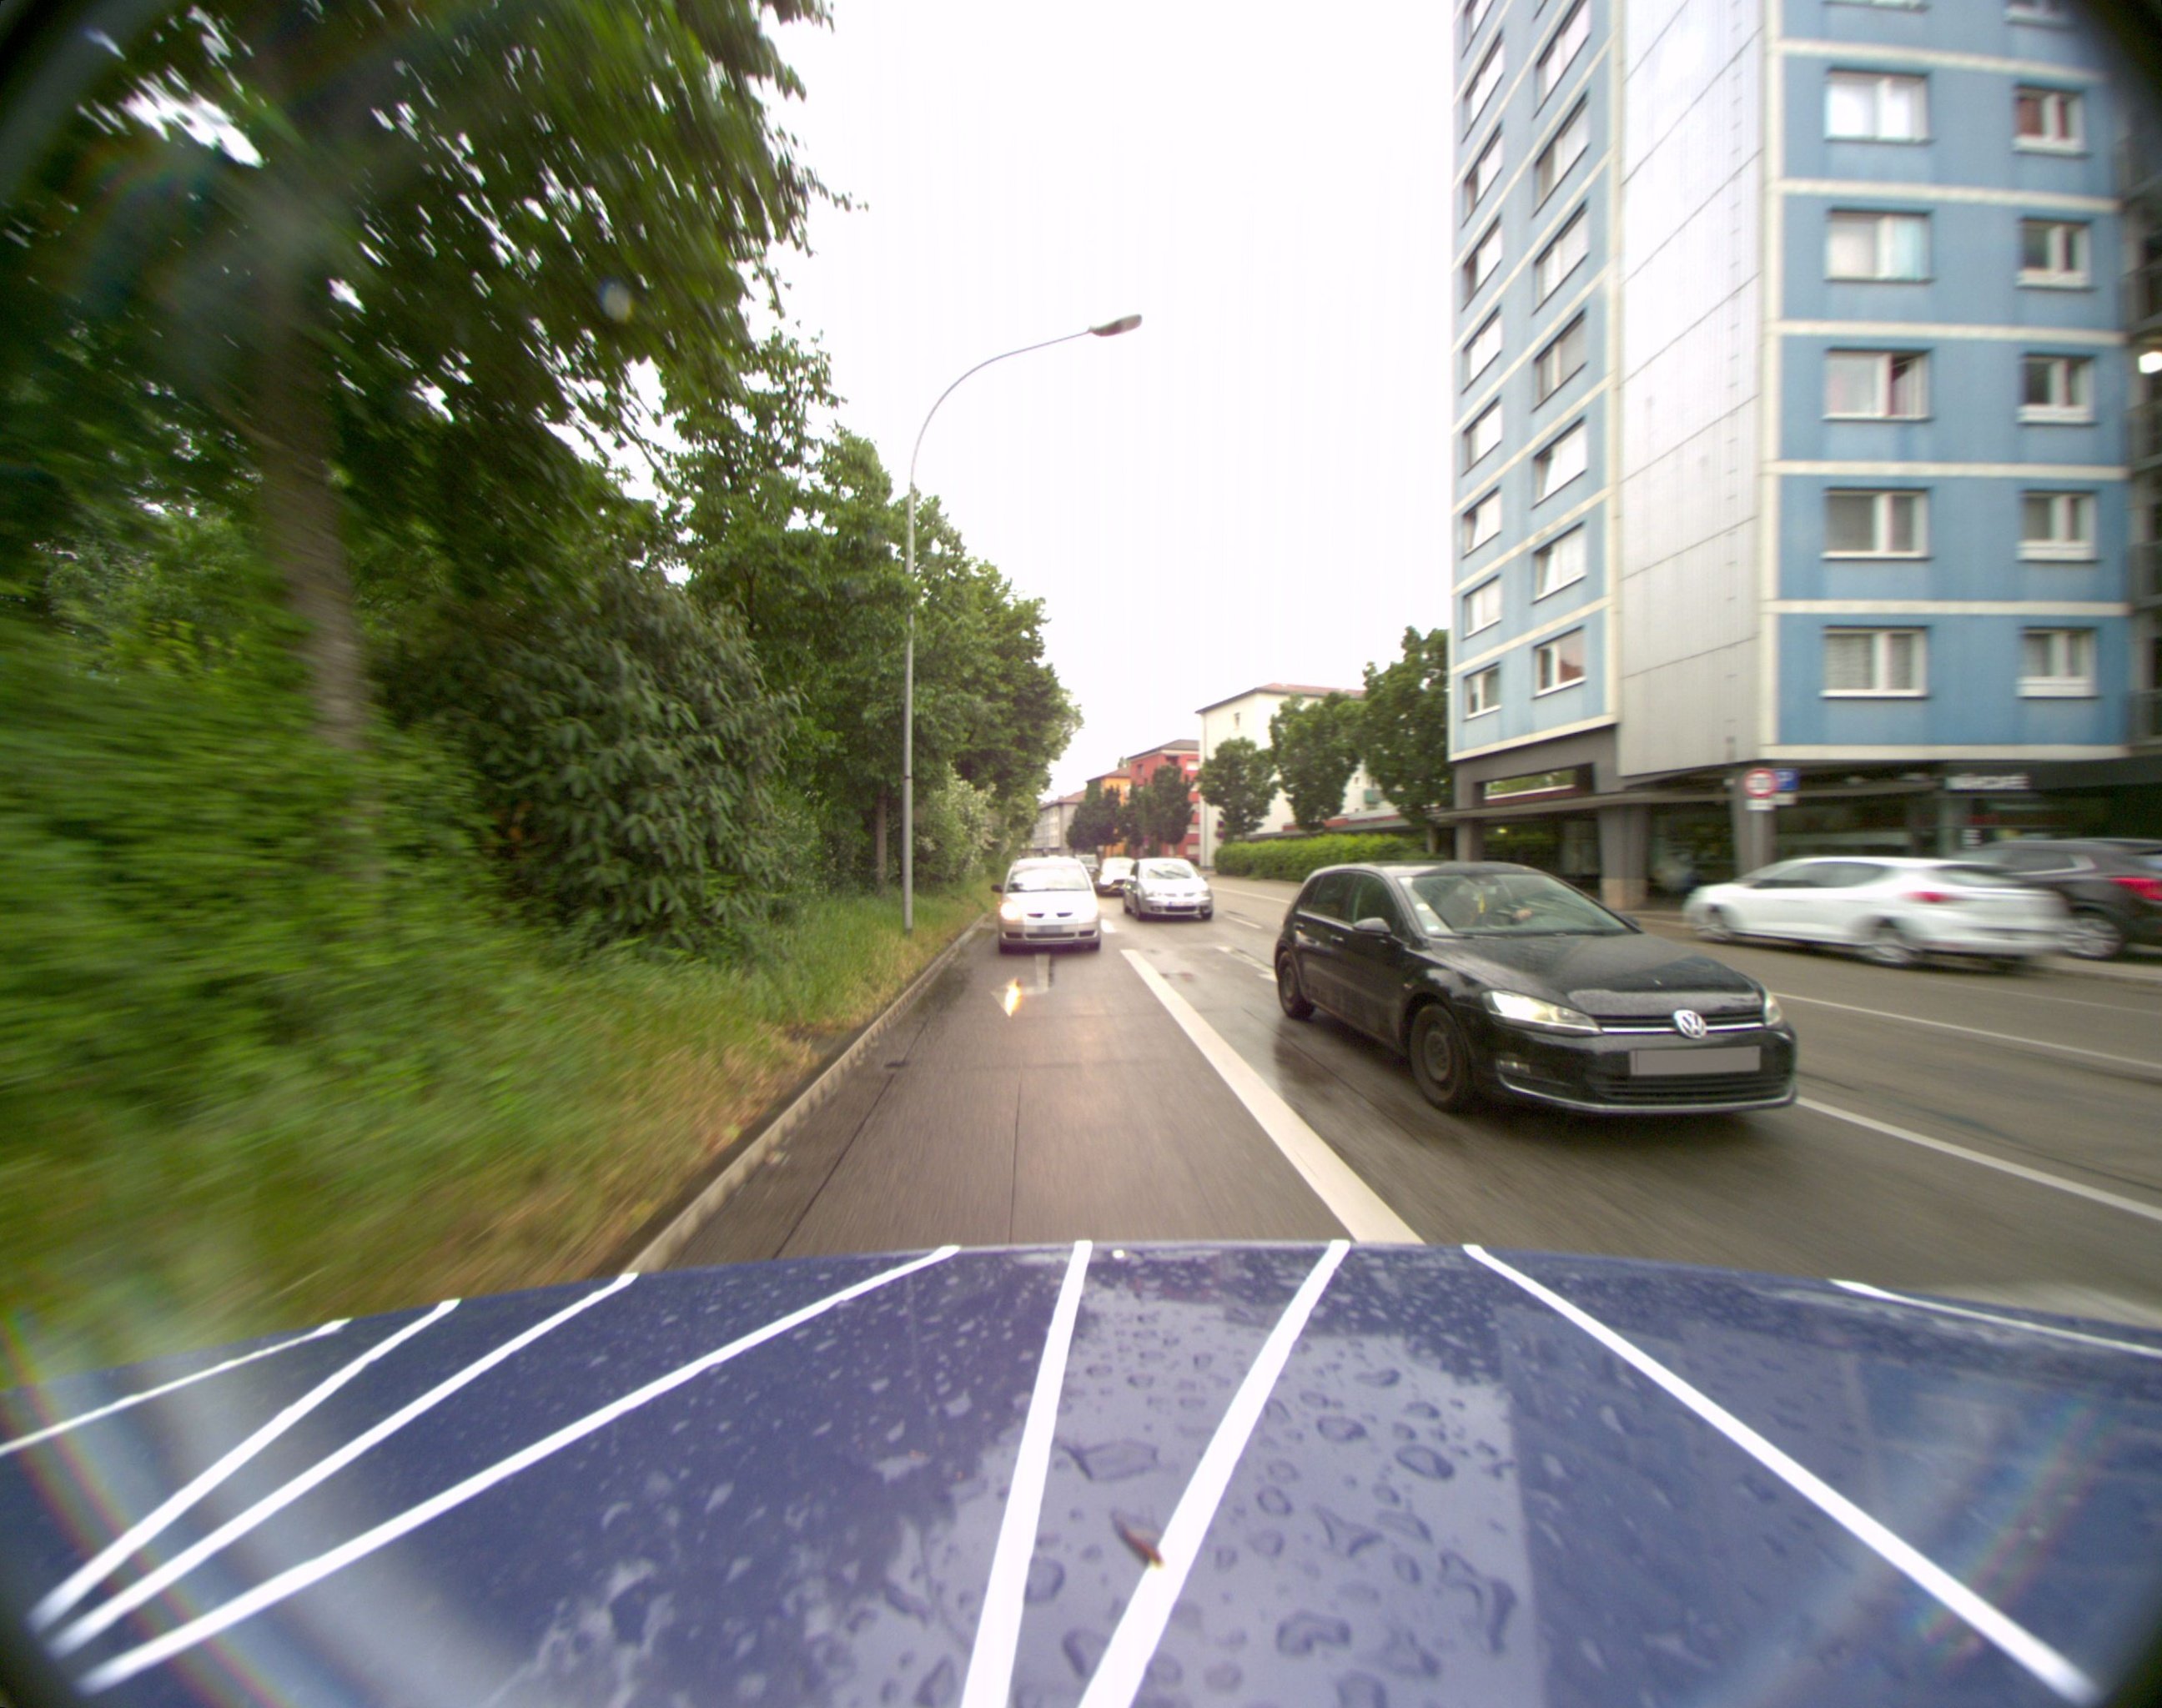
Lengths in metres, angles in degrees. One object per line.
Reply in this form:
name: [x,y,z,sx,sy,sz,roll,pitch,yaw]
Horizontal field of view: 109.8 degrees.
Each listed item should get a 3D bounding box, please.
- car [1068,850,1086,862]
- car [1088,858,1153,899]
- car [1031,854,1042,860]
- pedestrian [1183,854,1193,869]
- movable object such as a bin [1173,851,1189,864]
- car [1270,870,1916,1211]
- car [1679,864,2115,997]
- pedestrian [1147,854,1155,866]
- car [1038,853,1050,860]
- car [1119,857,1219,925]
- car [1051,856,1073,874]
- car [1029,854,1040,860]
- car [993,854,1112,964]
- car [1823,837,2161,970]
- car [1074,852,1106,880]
car: [-0.625,0.315,115.803,2.000,1.739,4.803,0,0,-11]
car: [1.457,0.895,29.758,2.072,1.455,4.585,-1,0,-3]
car: [-10.296,0.685,176.296,1.728,1.472,4.309,2,0,-15]
pedestrian: [10.718,0.739,76.345,0.695,1.508,1.068,0,0,-13]
movable object such as a bin: [11.672,0.417,88.697,1.219,1.476,2.085,0,0,-9]
car: [2.819,0.867,5.406,1.760,1.444,3.999,0,0,-3]
car: [11.533,0.954,11.284,1.999,1.486,4.087,3,0,-1]
pedestrian: [8.708,0.712,94.533,0.673,1.441,0.835,0,0,-13]
car: [-8.241,0.545,170.863,1.854,1.536,4.242,-3,1,-14]
car: [2.055,0.825,18.890,1.749,1.478,4.160,0,0,-3]
car: [-2.100,1.171,83.338,2.000,1.815,3.997,-3,1,-7]
car: [-11.221,0.642,181.670,1.728,1.472,4.309,2,0,-15]
car: [-0.556,0.841,13.733,1.755,1.587,4.167,-2,1,-3]
car: [14.567,0.622,11.910,1.543,1.696,4.286,-1,0,-3]
car: [0.503,0.706,46.812,1.736,1.590,3.998,-1,1,-3]
